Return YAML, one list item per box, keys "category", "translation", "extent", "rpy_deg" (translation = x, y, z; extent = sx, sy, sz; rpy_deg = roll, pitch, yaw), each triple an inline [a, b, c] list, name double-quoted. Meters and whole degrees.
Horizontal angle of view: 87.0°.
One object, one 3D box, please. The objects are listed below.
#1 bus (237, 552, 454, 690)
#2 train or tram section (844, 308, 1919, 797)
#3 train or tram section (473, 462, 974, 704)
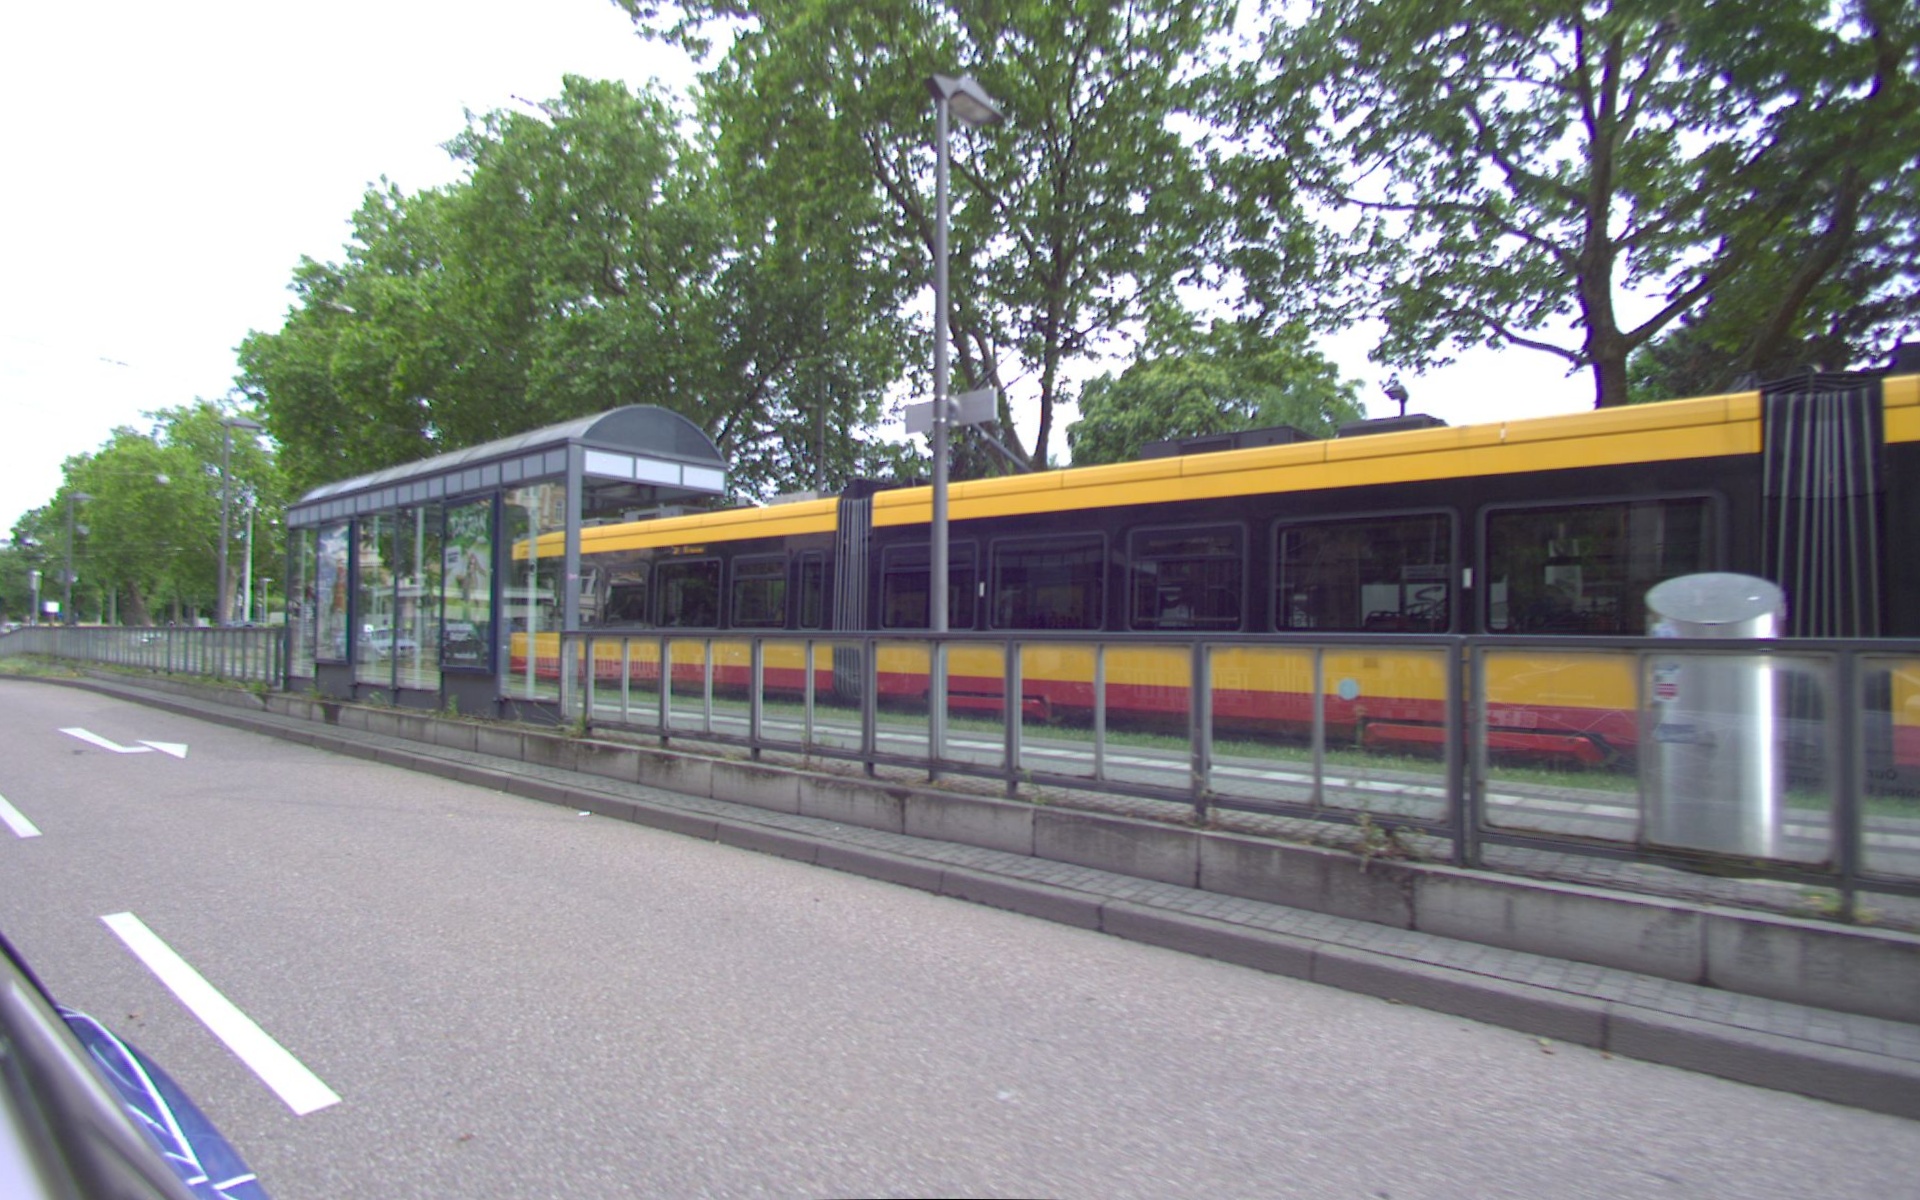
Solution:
- category: "bus"
  translation: [-10.362, 0.324, 16.966]
  extent: [3.998, 2.029, 1.973]
  rpy_deg: [-1, 0, 41]
- category: "train or tram section"
  translation: [5.230, -0.321, 10.921]
  extent: [15.763, 3.558, 3.028]
  rpy_deg: [-1, 0, 41]
- category: "train or tram section"
  translation: [-5.477, -0.207, 20.270]
  extent: [12.533, 3.588, 3.060]
  rpy_deg: [-1, 0, 41]
